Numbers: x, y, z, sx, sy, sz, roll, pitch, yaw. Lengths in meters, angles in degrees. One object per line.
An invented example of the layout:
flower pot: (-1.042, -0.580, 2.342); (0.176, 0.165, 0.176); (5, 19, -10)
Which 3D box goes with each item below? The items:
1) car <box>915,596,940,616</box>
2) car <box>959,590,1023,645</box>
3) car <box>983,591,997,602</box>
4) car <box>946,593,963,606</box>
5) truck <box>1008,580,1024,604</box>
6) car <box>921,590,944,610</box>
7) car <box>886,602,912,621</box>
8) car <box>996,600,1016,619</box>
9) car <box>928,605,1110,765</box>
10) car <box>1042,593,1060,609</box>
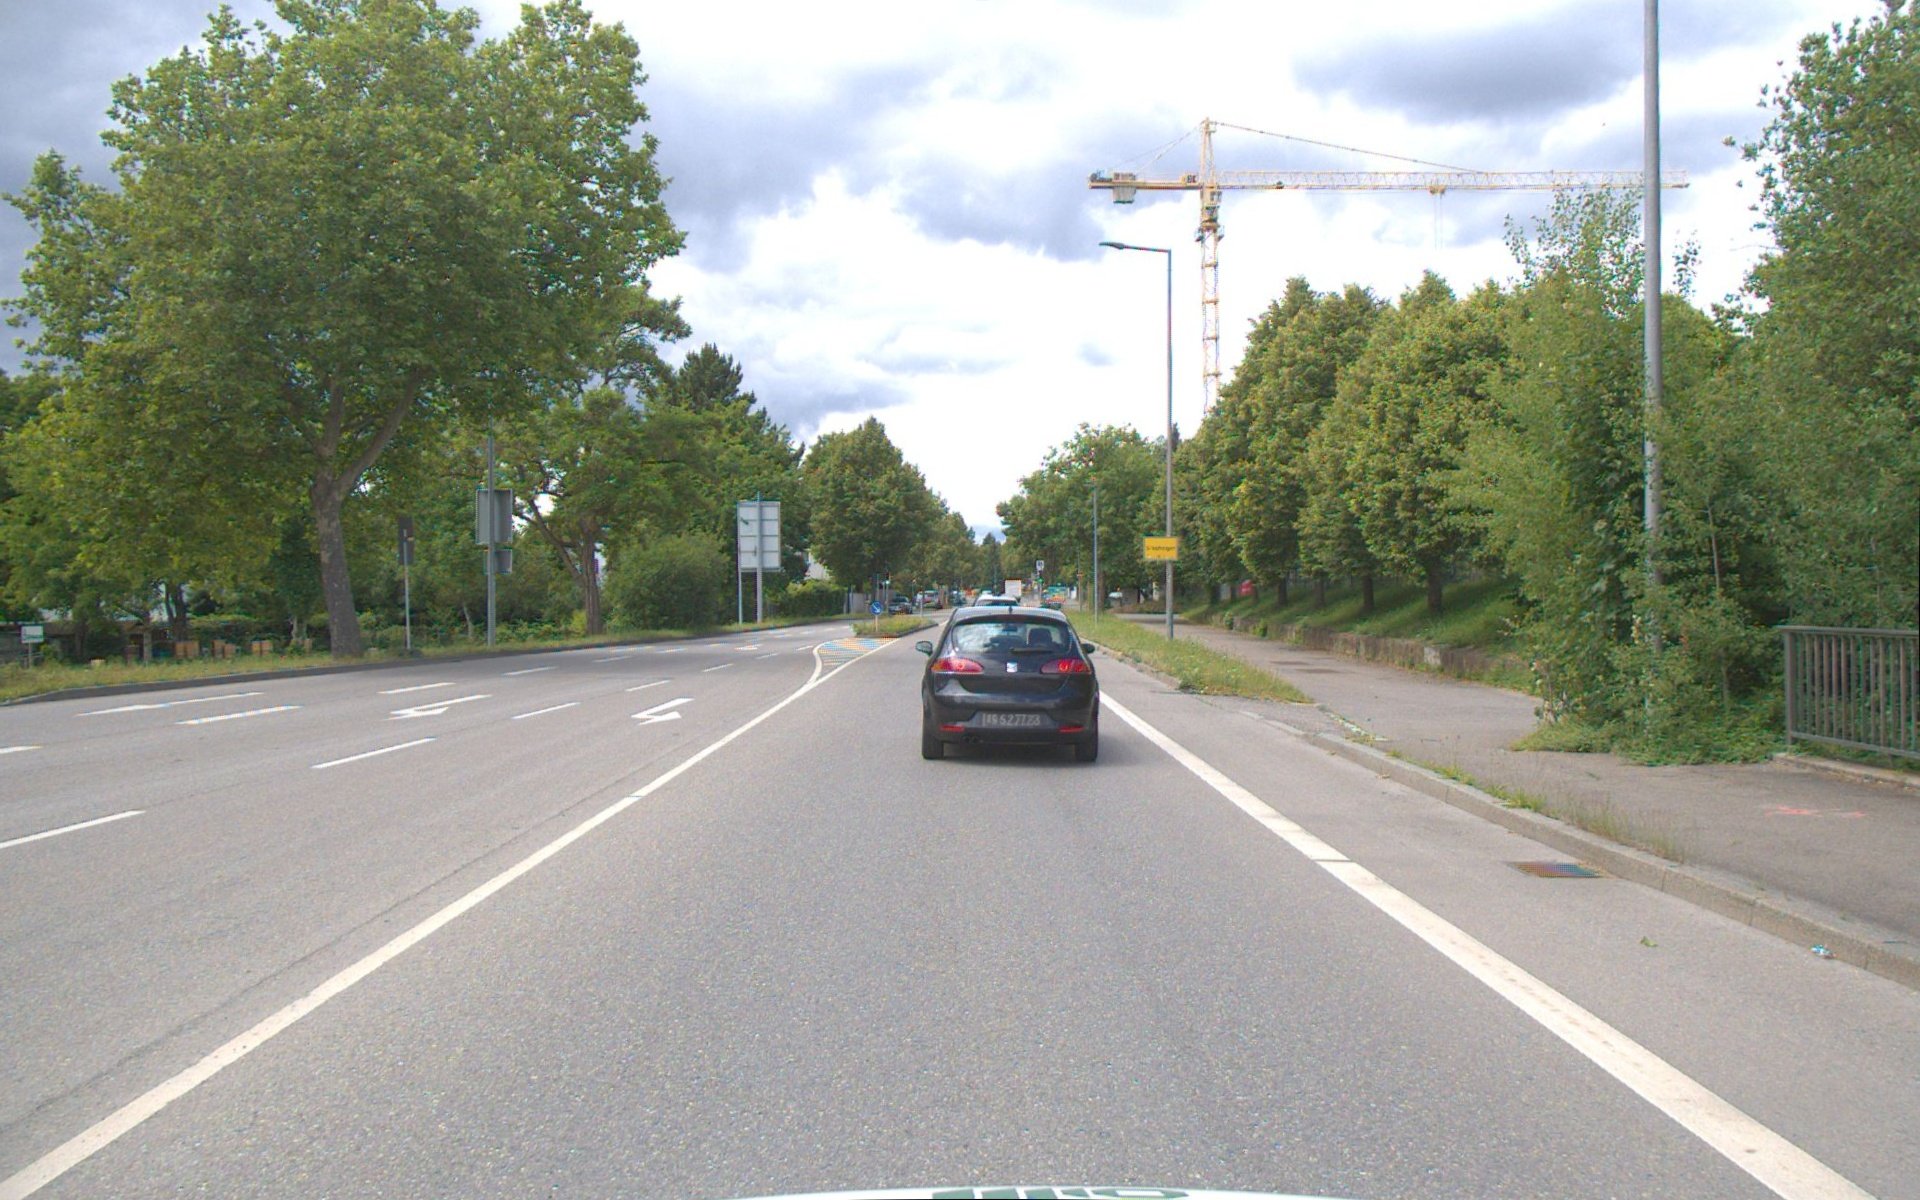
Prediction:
car: (-3.214, 0.584, 163.636); (2.056, 1.929, 5.786); (-2, 0, 2)
car: (0.938, 0.508, 49.536); (1.808, 1.536, 3.812); (1, 0, 1)
car: (4.545, -0.564, 253.692); (1.835, 1.663, 4.343); (-2, 0, 4)
car: (-0.717, -0.087, 220.865); (2.056, 1.532, 5.786); (-2, 0, 2)
truck: (7.844, -1.098, 231.438); (2.231, 3.158, 8.512); (1, 0, 2)
car: (-2.824, -0.034, 171.114); (2.056, 1.929, 5.786); (-2, 0, 2)
car: (-4.939, 0.925, 134.455); (1.682, 1.419, 4.803); (-2, 0, 2)
car: (4.341, 0.864, 155.561); (1.842, 1.718, 4.215); (-1, 0, 2)
car: (0.544, 0.778, 16.947); (1.629, 1.426, 3.812); (1, 0, 0)
car: (8.714, 0.058, 157.696); (1.653, 1.516, 3.356); (-1, 0, 2)
